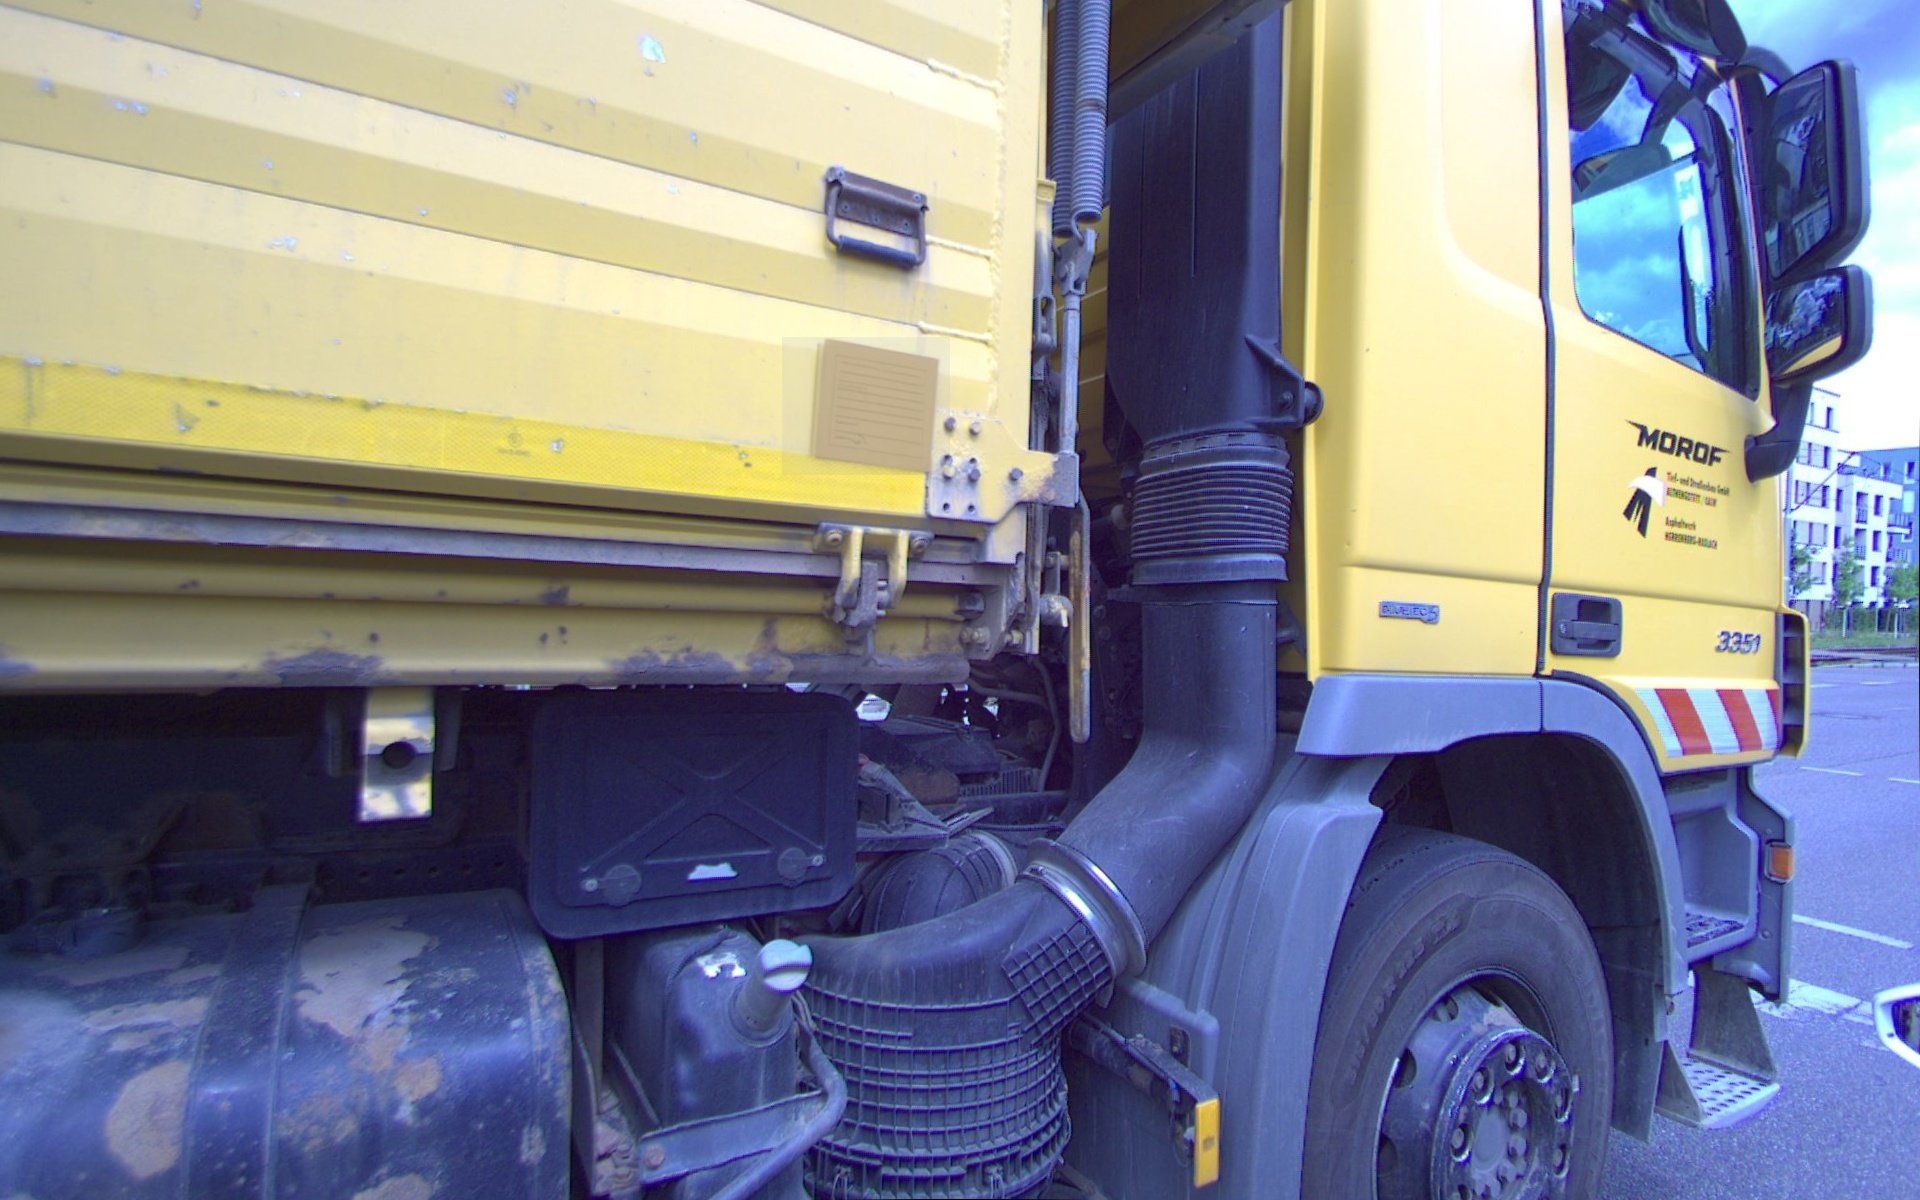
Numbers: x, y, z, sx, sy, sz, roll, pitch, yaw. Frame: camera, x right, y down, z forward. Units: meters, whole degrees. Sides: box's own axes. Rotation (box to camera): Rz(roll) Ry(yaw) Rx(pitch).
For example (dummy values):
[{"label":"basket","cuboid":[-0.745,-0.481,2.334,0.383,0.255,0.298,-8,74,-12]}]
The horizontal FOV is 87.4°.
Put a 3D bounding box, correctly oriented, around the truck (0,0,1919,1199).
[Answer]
[{"label":"truck","cuboid":[-1.539,-0.043,1.575,7.688,3.043,2.707,2,0,-30]}]
